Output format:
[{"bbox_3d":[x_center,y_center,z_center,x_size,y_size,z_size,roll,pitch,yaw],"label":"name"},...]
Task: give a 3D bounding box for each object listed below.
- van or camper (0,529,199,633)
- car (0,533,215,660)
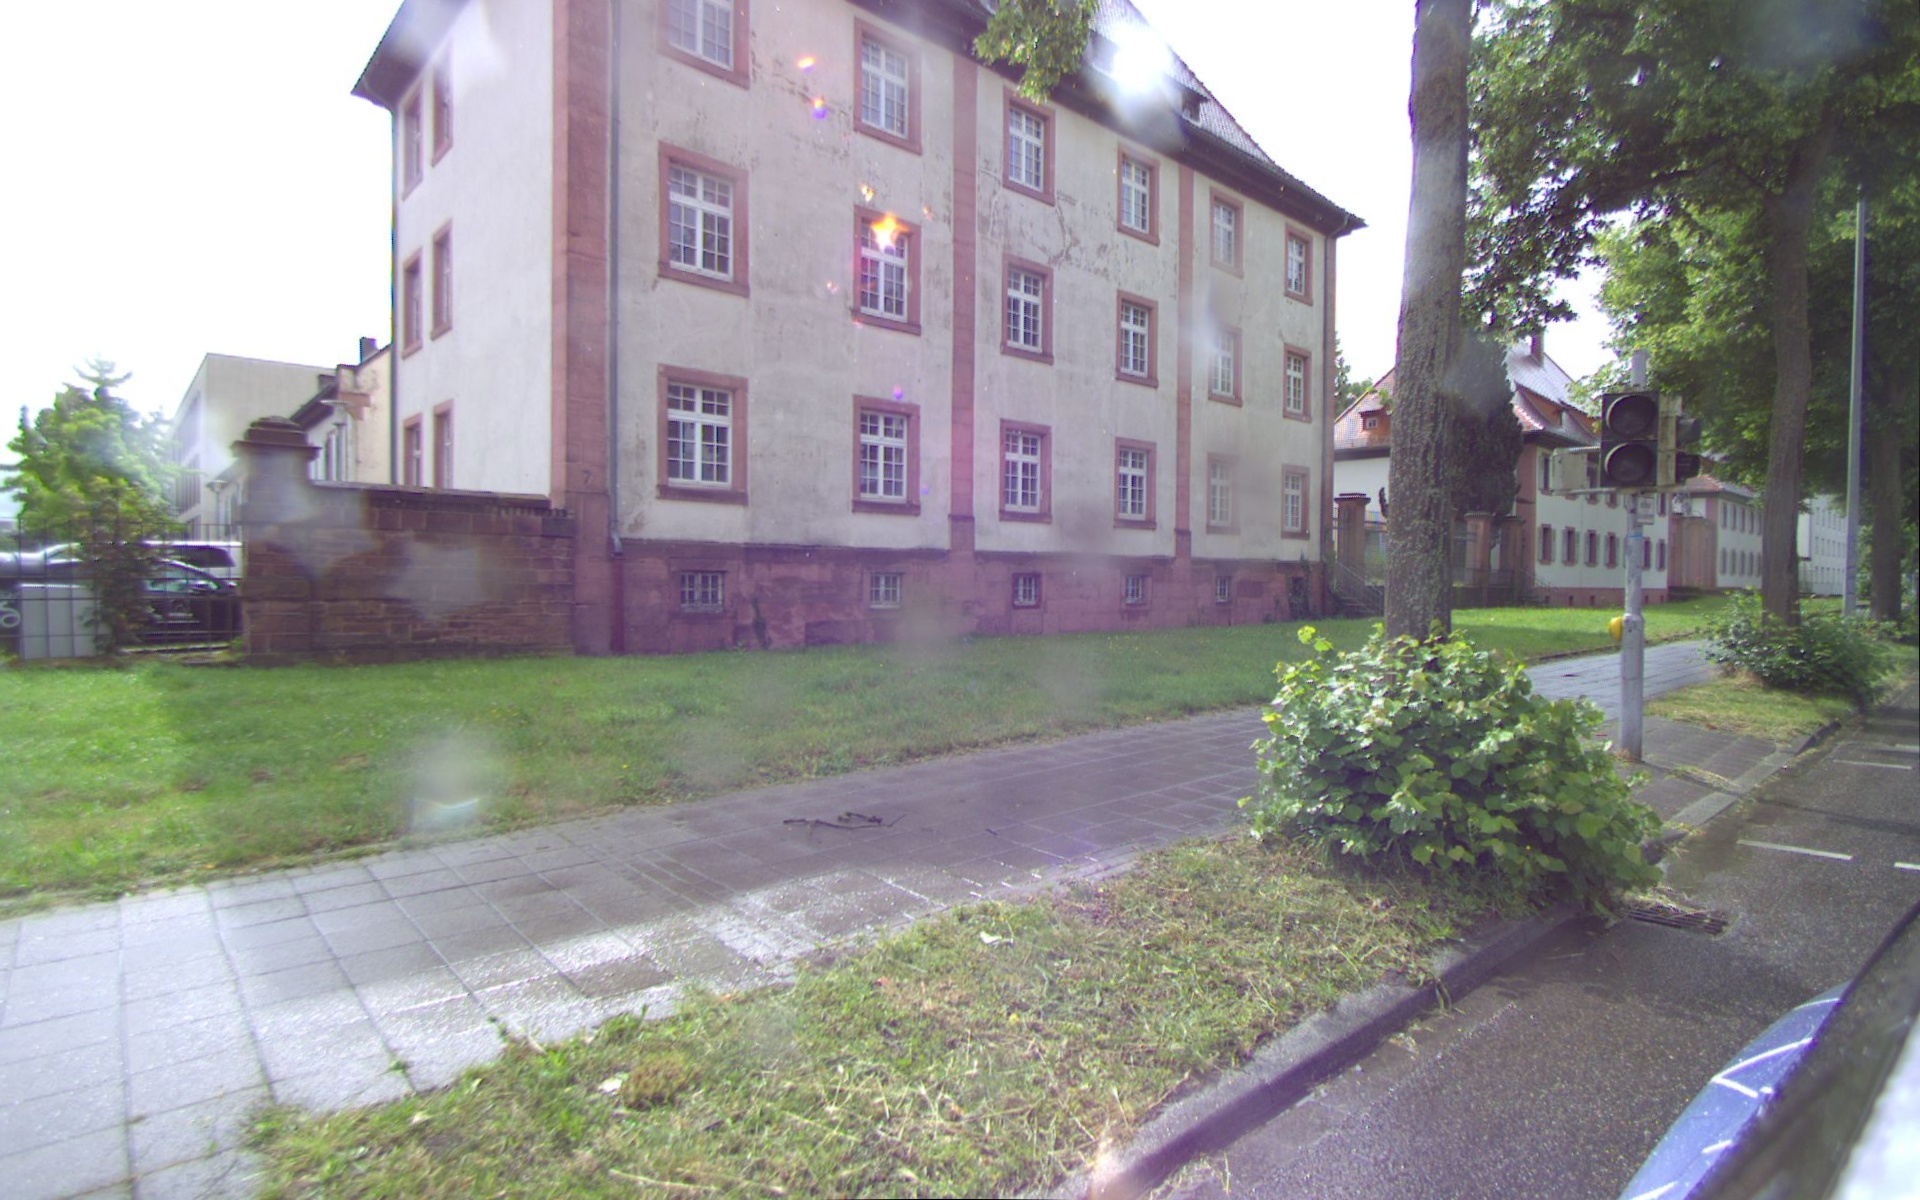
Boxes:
[{"bbox_3d":[-19.855,-0.438,22.075,5.095,2.142,1.793,0,3,-41],"label":"van or camper"},{"bbox_3d":[-13.470,-0.063,14.709,4.169,1.743,1.713,-1,1,-41],"label":"car"}]
